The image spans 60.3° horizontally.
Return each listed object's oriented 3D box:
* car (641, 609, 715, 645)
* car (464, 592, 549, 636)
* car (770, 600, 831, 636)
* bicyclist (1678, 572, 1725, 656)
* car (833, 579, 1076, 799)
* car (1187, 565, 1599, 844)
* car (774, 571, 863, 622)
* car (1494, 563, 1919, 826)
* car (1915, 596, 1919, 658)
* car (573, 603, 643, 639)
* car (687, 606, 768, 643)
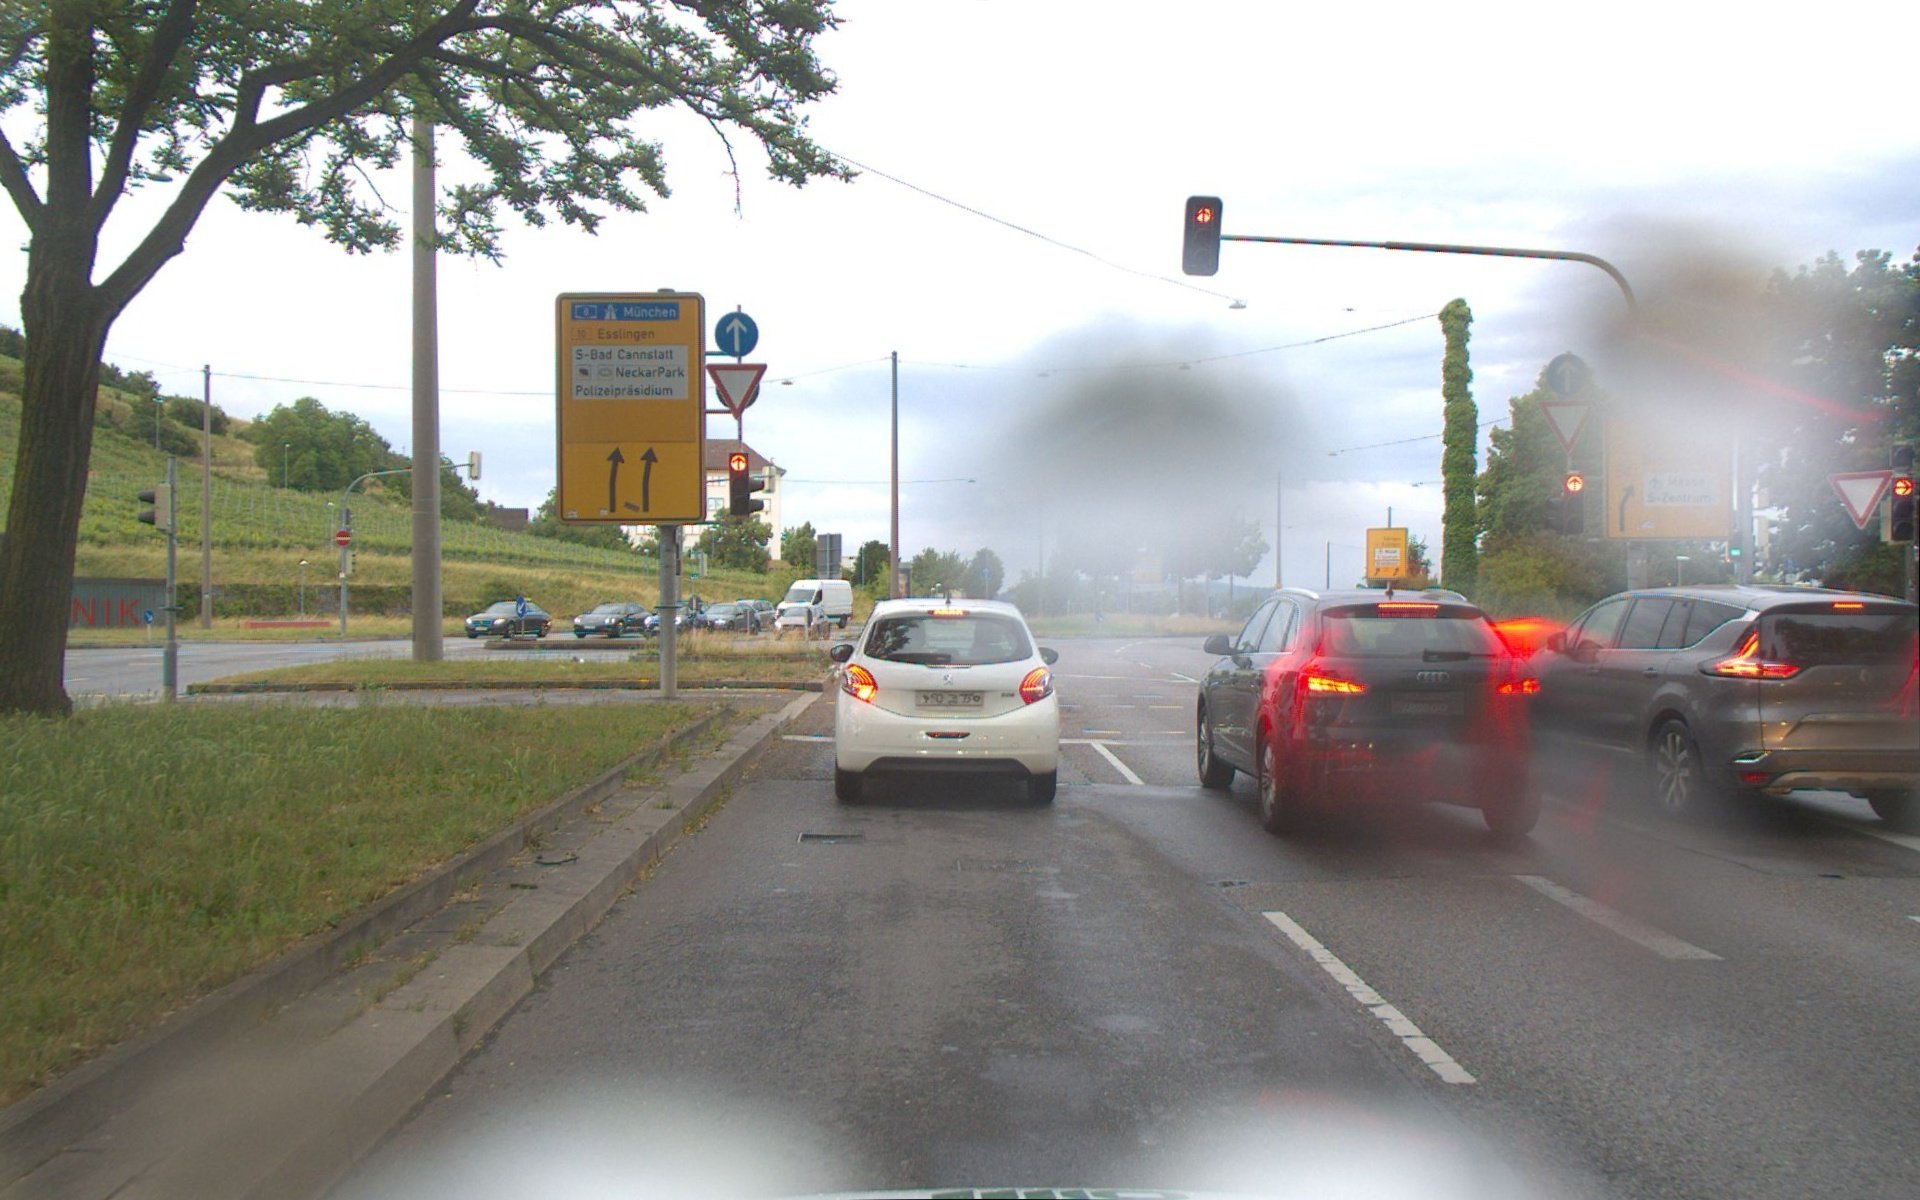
[{"bbox_3d":[-11.472,1.120,67.512,1.748,1.420,3.885,1,-1,10],"label":"car"},{"bbox_3d":[-18.509,0.583,67.649,1.791,1.652,4.569,2,-1,5],"label":"car"},{"bbox_3d":[-6.550,0.745,68.300,1.738,1.450,4.376,0,-1,5],"label":"car"},{"bbox_3d":[14.802,0.283,32.997,0.793,1.612,1.021,1,-1,26],"label":"bicyclist"},{"bbox_3d":[-0.069,0.642,13.570,1.683,1.515,3.999,1,-1,-1],"label":"car"},{"bbox_3d":[2.908,0.652,12.073,1.846,1.623,4.112,2,-1,-1],"label":"car"},{"bbox_3d":[-7.746,-0.146,91.237,1.955,2.604,6.163,1,-1,26],"label":"car"},{"bbox_3d":[5.955,0.598,13.138,1.827,1.703,4.564,1,1,-2],"label":"car"},{"bbox_3d":[26.616,0.720,41.797,4.045,1.591,1.871,1,-1,21],"label":"car"},{"bbox_3d":[-14.679,0.898,69.213,1.748,1.420,3.884,1,-1,5],"label":"car"},{"bbox_3d":[-10.283,1.085,73.547,1.861,1.515,4.896,1,-1,14],"label":"car"}]
